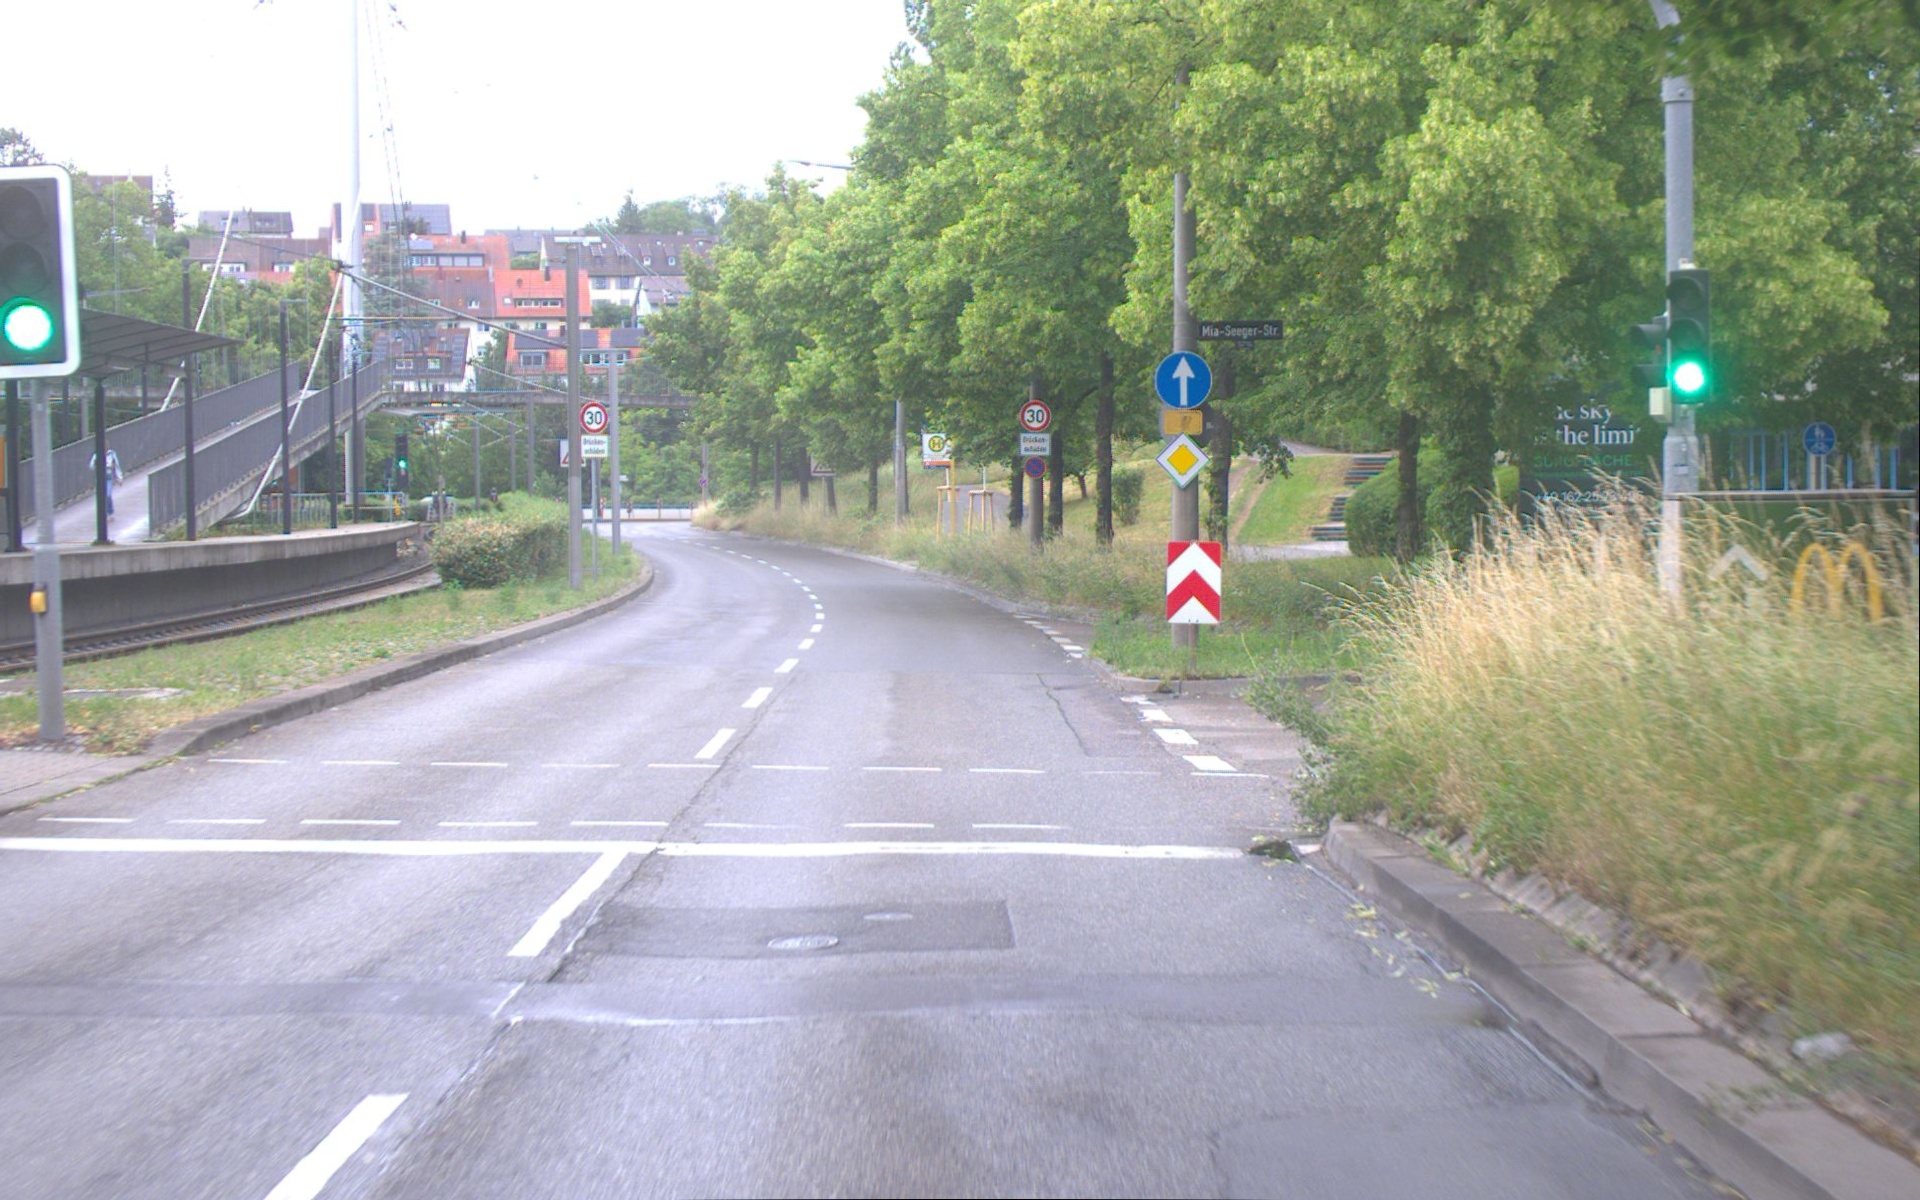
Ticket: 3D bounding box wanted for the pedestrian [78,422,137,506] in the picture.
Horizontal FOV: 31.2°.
[{"bbox_3d":[-16.515,-2.628,66.638,0.935,1.605,1.027,0,2,-4],"label":"pedestrian"}]
